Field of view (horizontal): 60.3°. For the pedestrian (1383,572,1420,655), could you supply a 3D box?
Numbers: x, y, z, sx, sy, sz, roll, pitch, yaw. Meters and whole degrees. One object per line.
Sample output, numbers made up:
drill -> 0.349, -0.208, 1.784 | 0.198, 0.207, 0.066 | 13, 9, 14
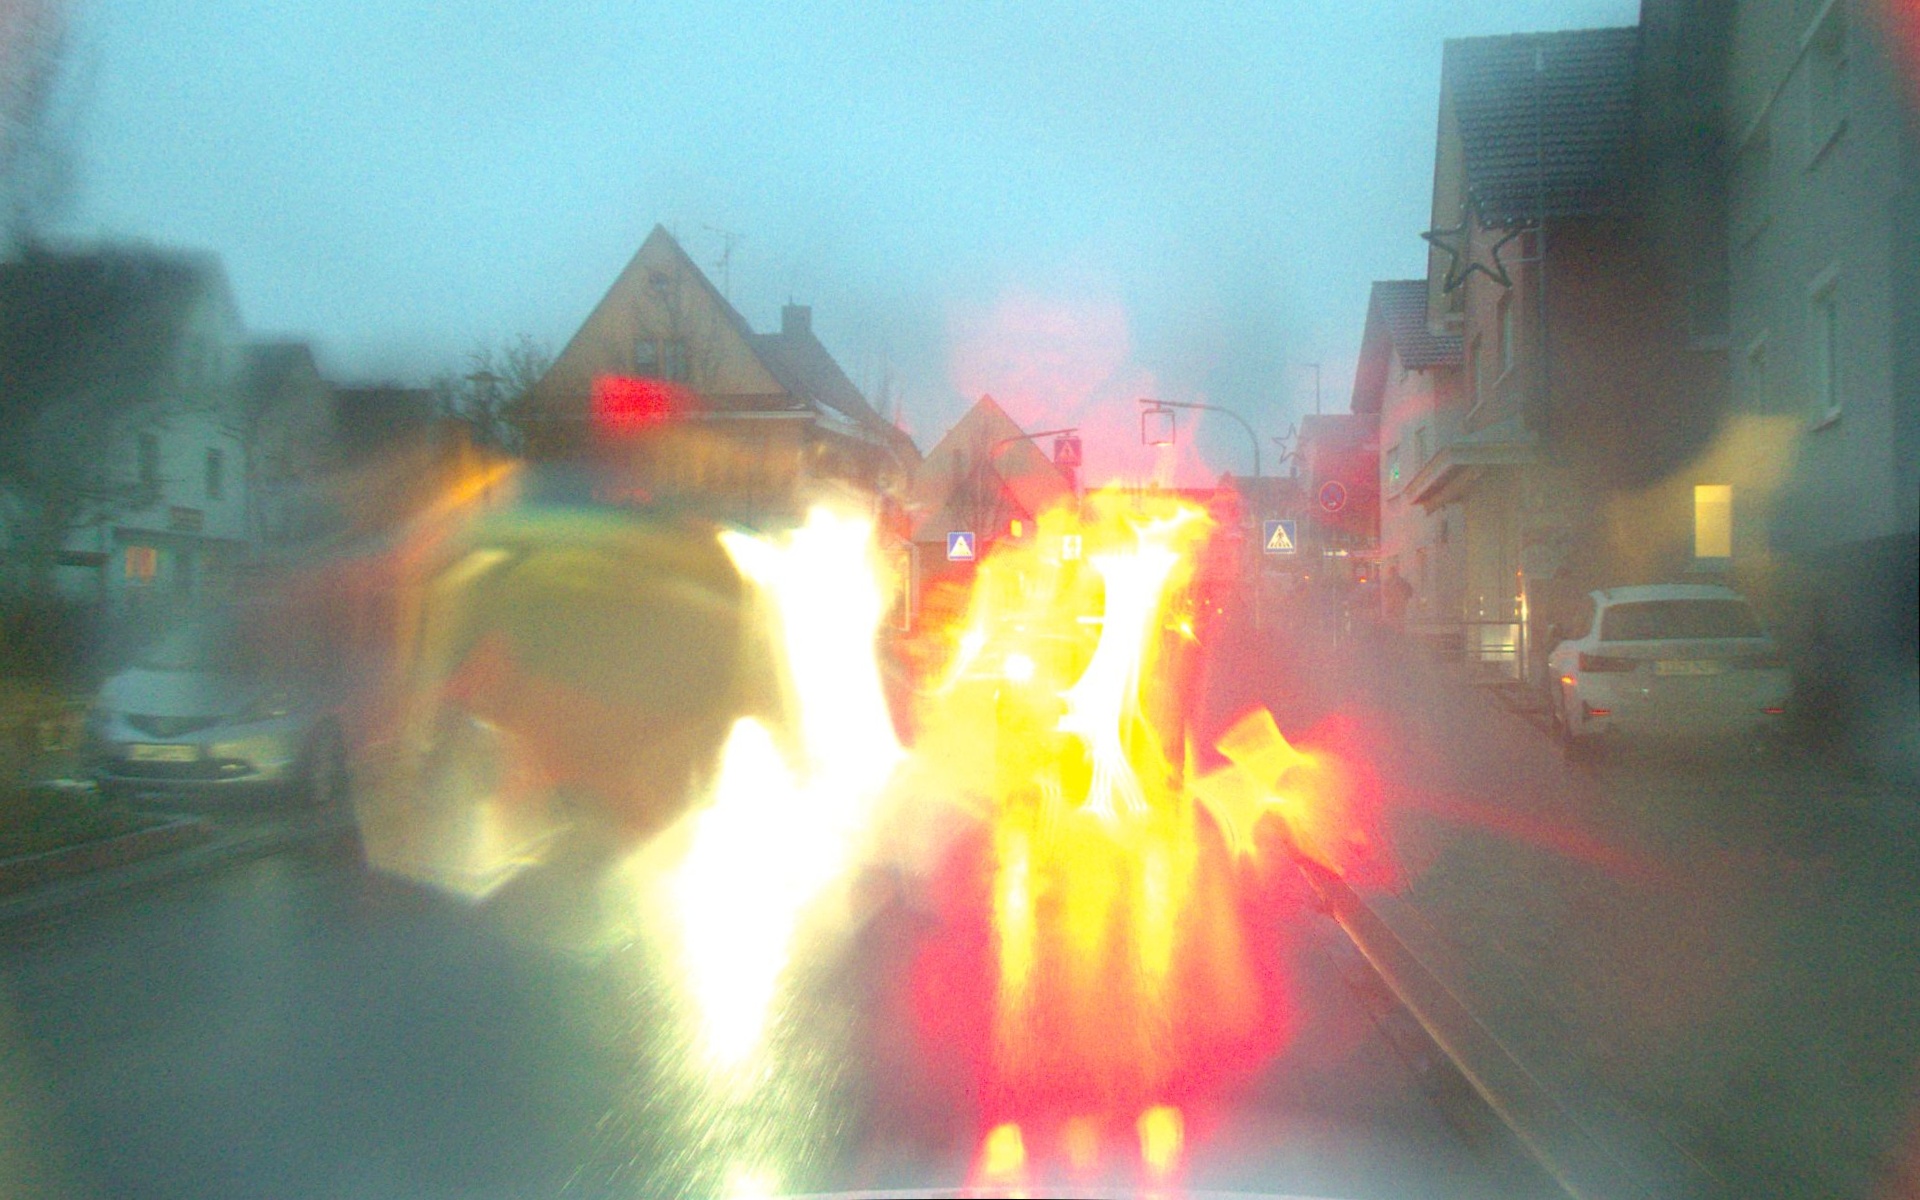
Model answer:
pedestrian -> 10.339, 0.305, 38.743 | 0.688, 1.909, 0.617 | 1, 1, 1

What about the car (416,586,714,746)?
car -> -4.295, 0.663, 18.740 | 1.711, 1.543, 4.345 | 2, 0, 9

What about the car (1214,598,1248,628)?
car -> 13.487, 0.653, 82.344 | 1.502, 1.267, 3.650 | -5, 0, 9

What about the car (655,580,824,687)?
car -> -3.451, 0.497, 26.600 | 1.634, 1.543, 4.003 | 2, 0, 8

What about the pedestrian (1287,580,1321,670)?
pedestrian -> 7.481, 0.546, 35.929 | 0.649, 1.921, 0.825 | 1, -1, 15

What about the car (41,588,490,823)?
car -> -5.240, 0.711, 13.063 | 1.656, 1.543, 3.775 | 1, 0, 5

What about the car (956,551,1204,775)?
car -> 1.318, 0.497, 15.952 | 1.951, 1.827, 4.652 | 0, 0, 10

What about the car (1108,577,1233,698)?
car -> 3.327, 0.546, 25.598 | 1.759, 1.691, 4.003 | 1, 0, 9

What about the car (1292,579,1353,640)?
car -> 12.814, 0.312, 58.679 | 1.607, 2.049, 4.003 | -1, 0, 6

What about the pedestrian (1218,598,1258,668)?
pedestrian -> 7.187, 0.845, 42.785 | 0.953, 1.773, 0.962 | 1, 1, 8

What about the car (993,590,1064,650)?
car -> 2.489, 0.695, 58.858 | 1.951, 2.049, 4.365 | 0, 0, 10

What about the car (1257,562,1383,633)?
car -> 10.822, -0.062, 49.800 | 3.618, 2.049, 1.690 | 1, -1, 12

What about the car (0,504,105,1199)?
car -> -3.255, 0.741, 1.696 | 2.096, 1.893, 4.744 | 0, 0, 3

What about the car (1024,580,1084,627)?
car -> 3.791, 0.140, 65.805 | 1.951, 1.783, 4.365 | 0, 0, 9

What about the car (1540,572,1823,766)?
car -> 6.405, 0.537, 15.163 | 1.844, 1.492, 4.545 | -2, 0, 17
